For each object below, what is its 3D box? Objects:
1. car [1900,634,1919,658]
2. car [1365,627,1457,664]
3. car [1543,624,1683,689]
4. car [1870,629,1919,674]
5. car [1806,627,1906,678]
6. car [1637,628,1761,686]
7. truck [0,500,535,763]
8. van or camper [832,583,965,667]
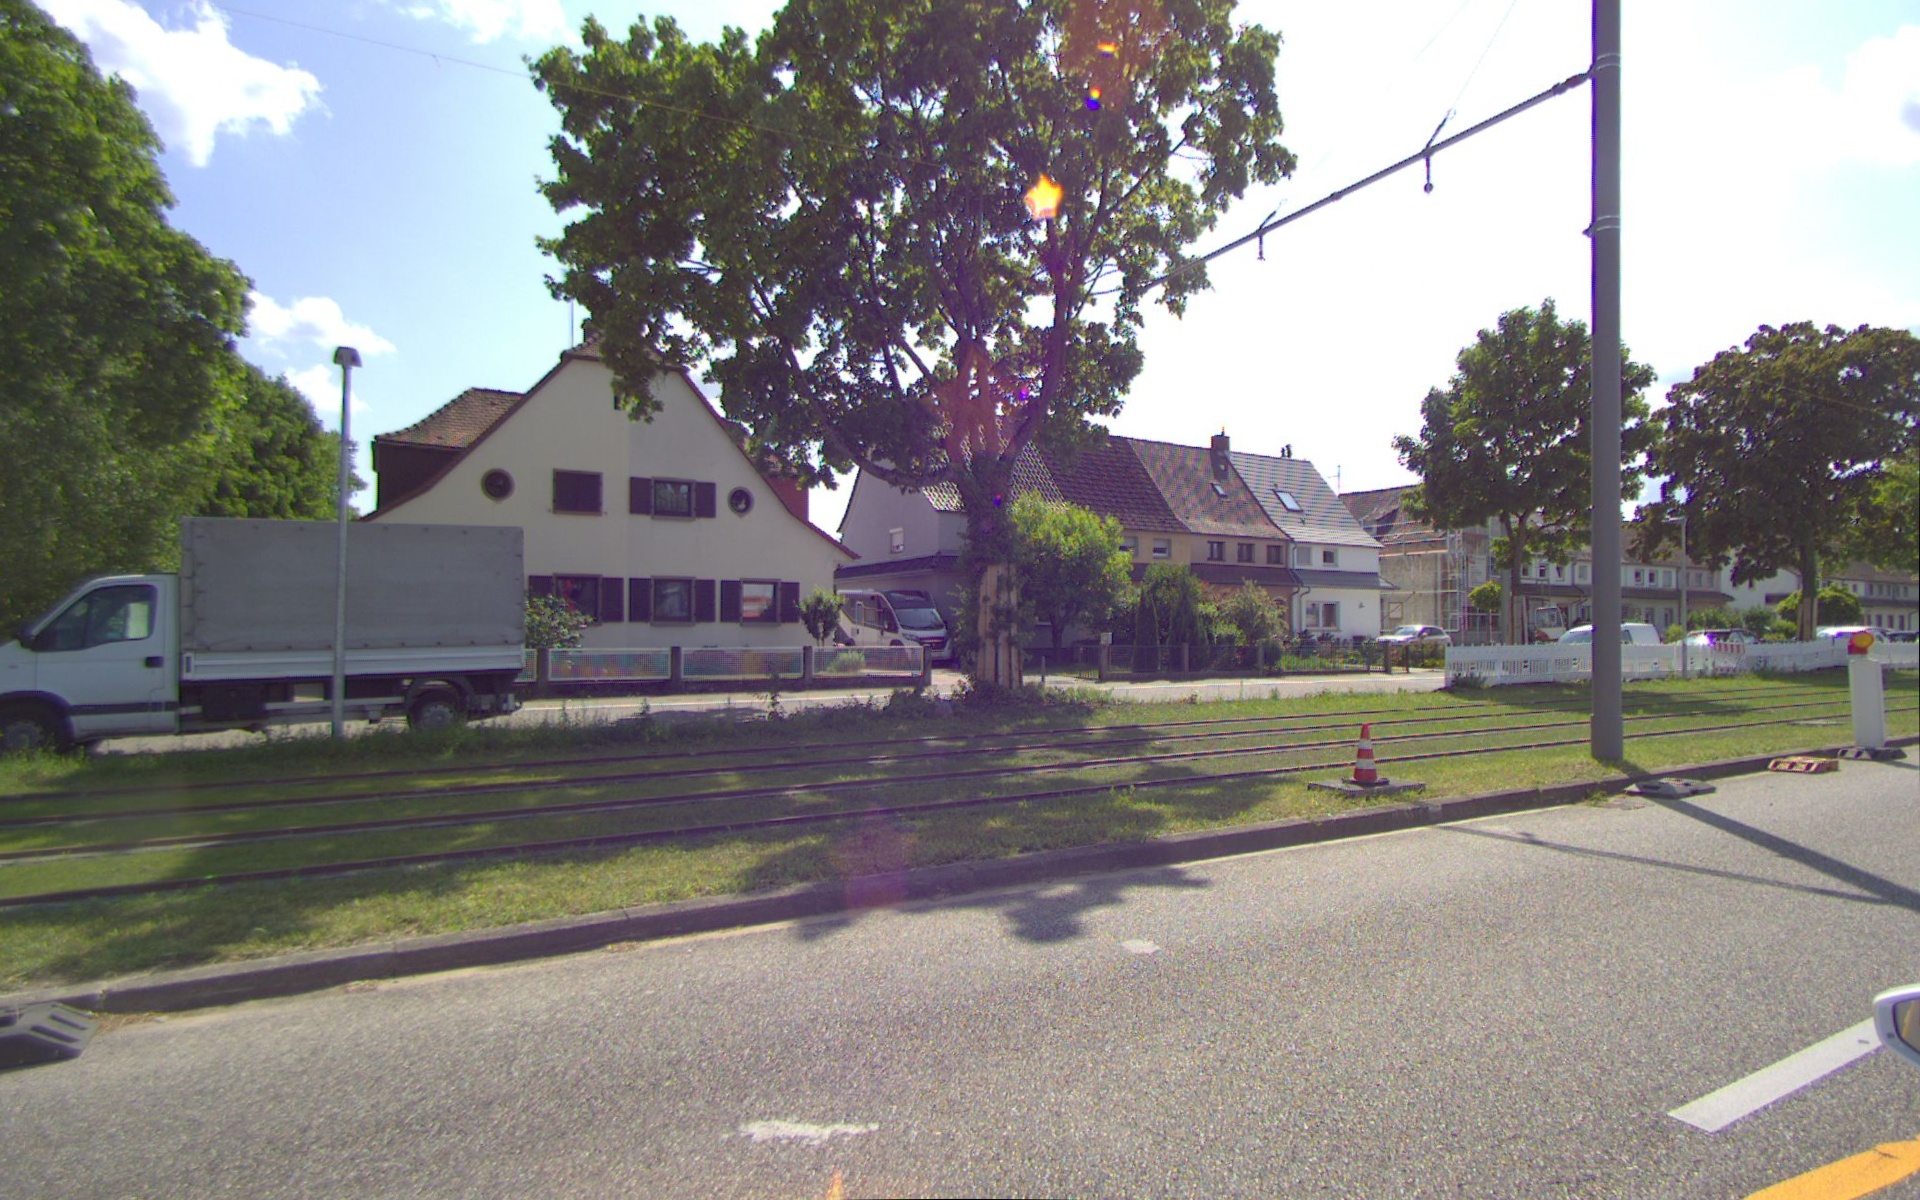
[{"bbox_3d":[70.041,3.305,72.742,4.079,1.745,1.768,1,-2,-30],"label":"car"},{"bbox_3d":[19.999,1.990,44.494,3.952,1.539,1.768,1,-2,-30],"label":"car"},{"bbox_3d":[19.564,1.644,30.050,4.312,1.845,1.768,1,-2,-30],"label":"car"},{"bbox_3d":[40.655,2.165,42.693,4.079,1.829,1.768,1,-2,-30],"label":"car"},{"bbox_3d":[35.371,2.031,39.637,4.079,1.892,1.768,1,-2,-30],"label":"car"},{"bbox_3d":[24.299,1.838,32.998,4.177,1.797,1.768,1,-2,-30],"label":"car"},{"bbox_3d":[-8.827,0.402,12.970,5.906,2.817,2.255,1,-2,-31],"label":"truck"},{"bbox_3d":[-2.367,0.938,36.651,2.269,2.801,6.051,1,-2,-32],"label":"van or camper"}]
